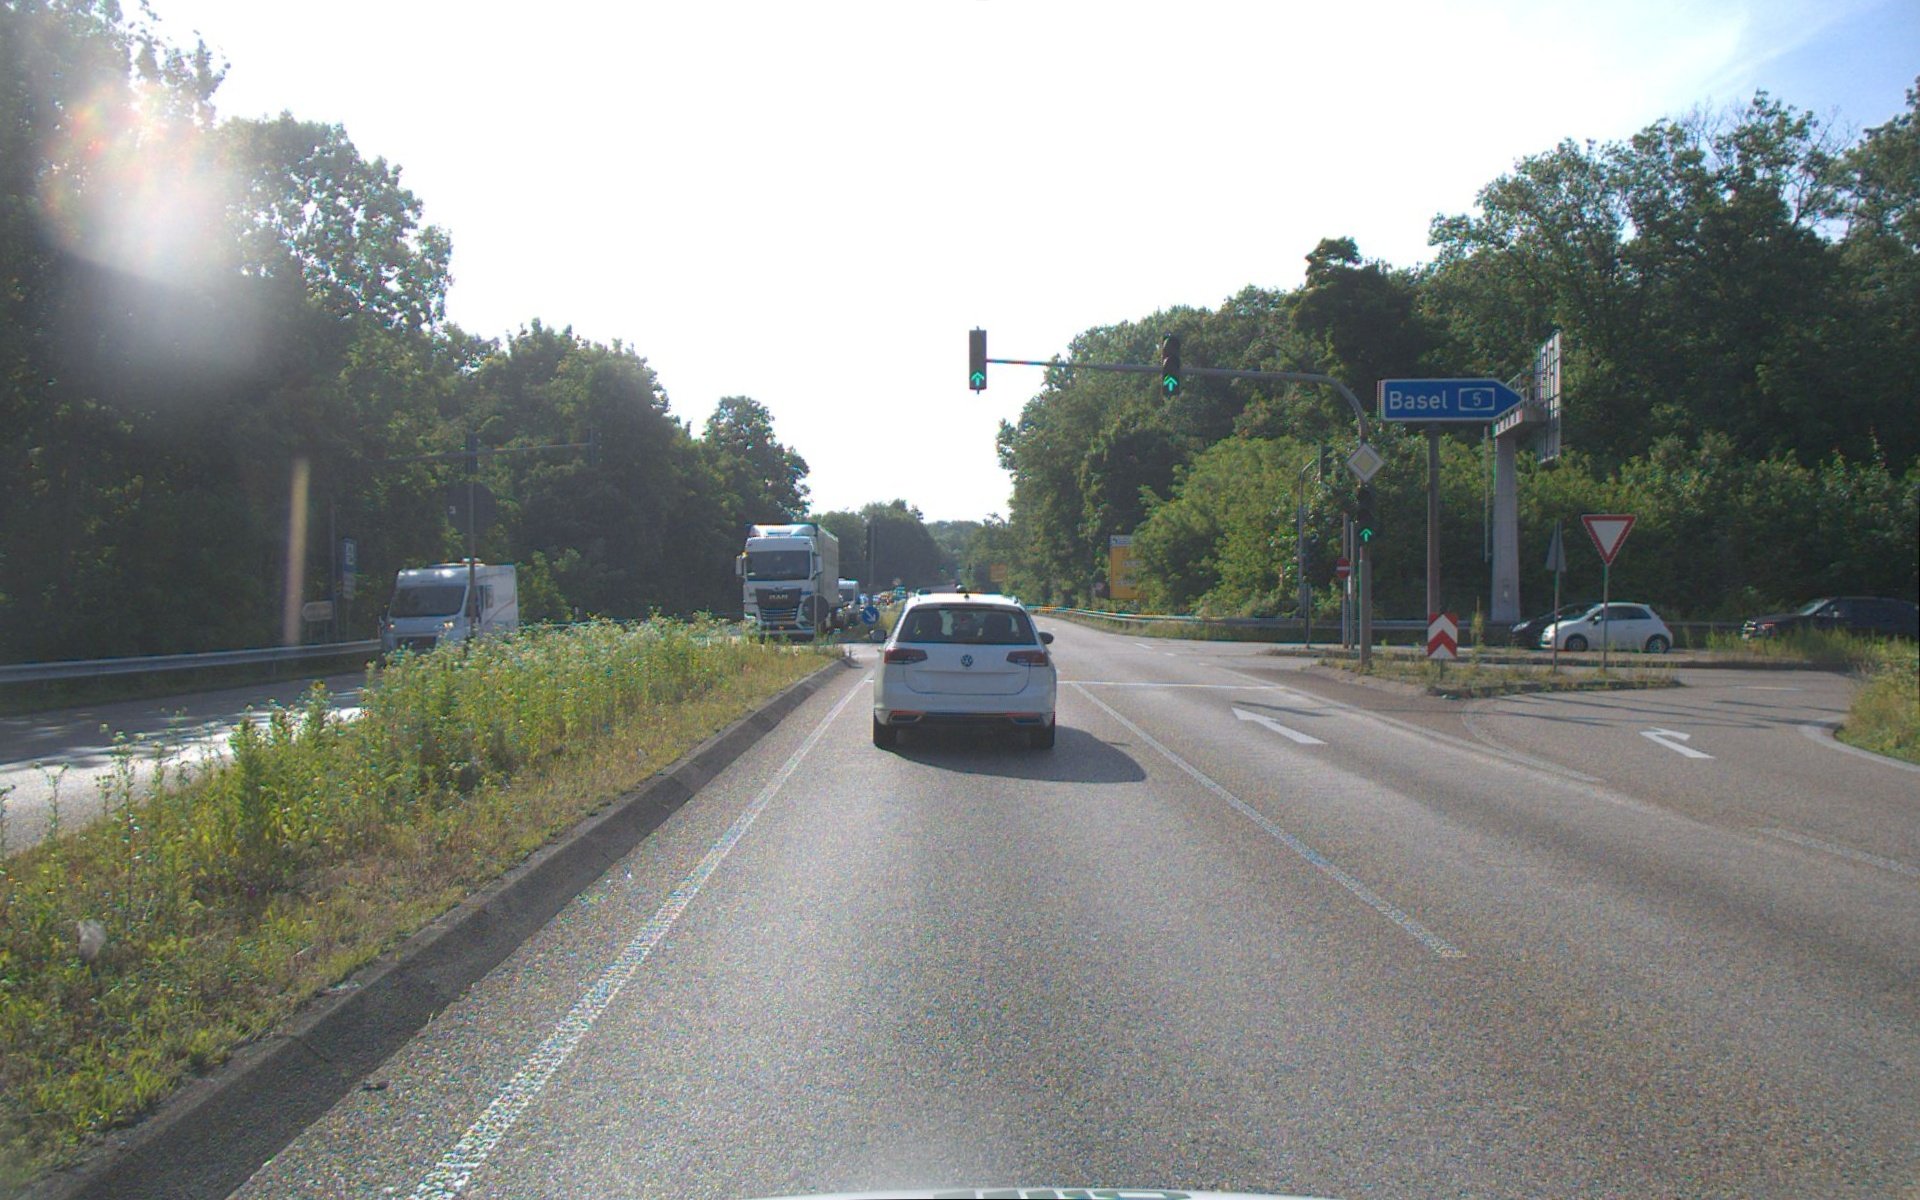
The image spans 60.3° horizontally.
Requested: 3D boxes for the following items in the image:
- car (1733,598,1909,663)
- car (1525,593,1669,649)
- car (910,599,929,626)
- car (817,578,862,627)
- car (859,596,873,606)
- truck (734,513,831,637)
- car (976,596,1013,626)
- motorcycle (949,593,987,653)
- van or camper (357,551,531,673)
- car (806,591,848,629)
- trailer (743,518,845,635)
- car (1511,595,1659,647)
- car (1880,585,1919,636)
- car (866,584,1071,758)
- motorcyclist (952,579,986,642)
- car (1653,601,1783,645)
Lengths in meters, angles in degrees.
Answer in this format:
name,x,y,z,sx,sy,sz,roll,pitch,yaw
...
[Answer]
name,x,y,z,sx,sy,sz,roll,pitch,yaw
car,24.345,0.841,46.873,4.023,1.738,1.870,1,0,4
car,18.387,0.589,47.866,3.522,1.529,1.809,1,0,4
car,-4.754,1.439,194.971,2.165,2.939,7.010,-1,0,-1
car,-6.604,0.112,91.398,2.033,2.578,6.163,-1,0,-1
car,-13.860,0.176,243.313,1.725,1.404,3.971,1,0,0
truck,-6.169,-0.836,58.405,2.833,4.067,6.719,1,0,-2
car,1.677,0.514,80.935,1.725,1.404,3.971,1,0,0
motorcycle,0.236,0.600,44.248,0.890,1.478,2.689,-3,0,1
van or camper,-13.050,0.276,42.363,2.364,2.758,6.436,-3,0,-1
car,-6.038,0.440,75.527,1.666,1.660,4.369,-1,0,-2
trailer,-6.375,-0.866,65.582,2.931,4.066,14.009,1,0,-2
car,19.446,0.631,51.615,4.022,1.522,1.786,1,0,8
car,30.238,0.319,49.787,4.023,1.522,1.870,1,0,4
car,0.062,0.630,17.407,1.832,1.548,4.833,1,0,-1
motorcyclist,0.245,0.282,44.303,0.865,1.644,1.290,1,0,1
car,24.563,0.740,53.661,3.550,1.336,1.492,1,0,4
